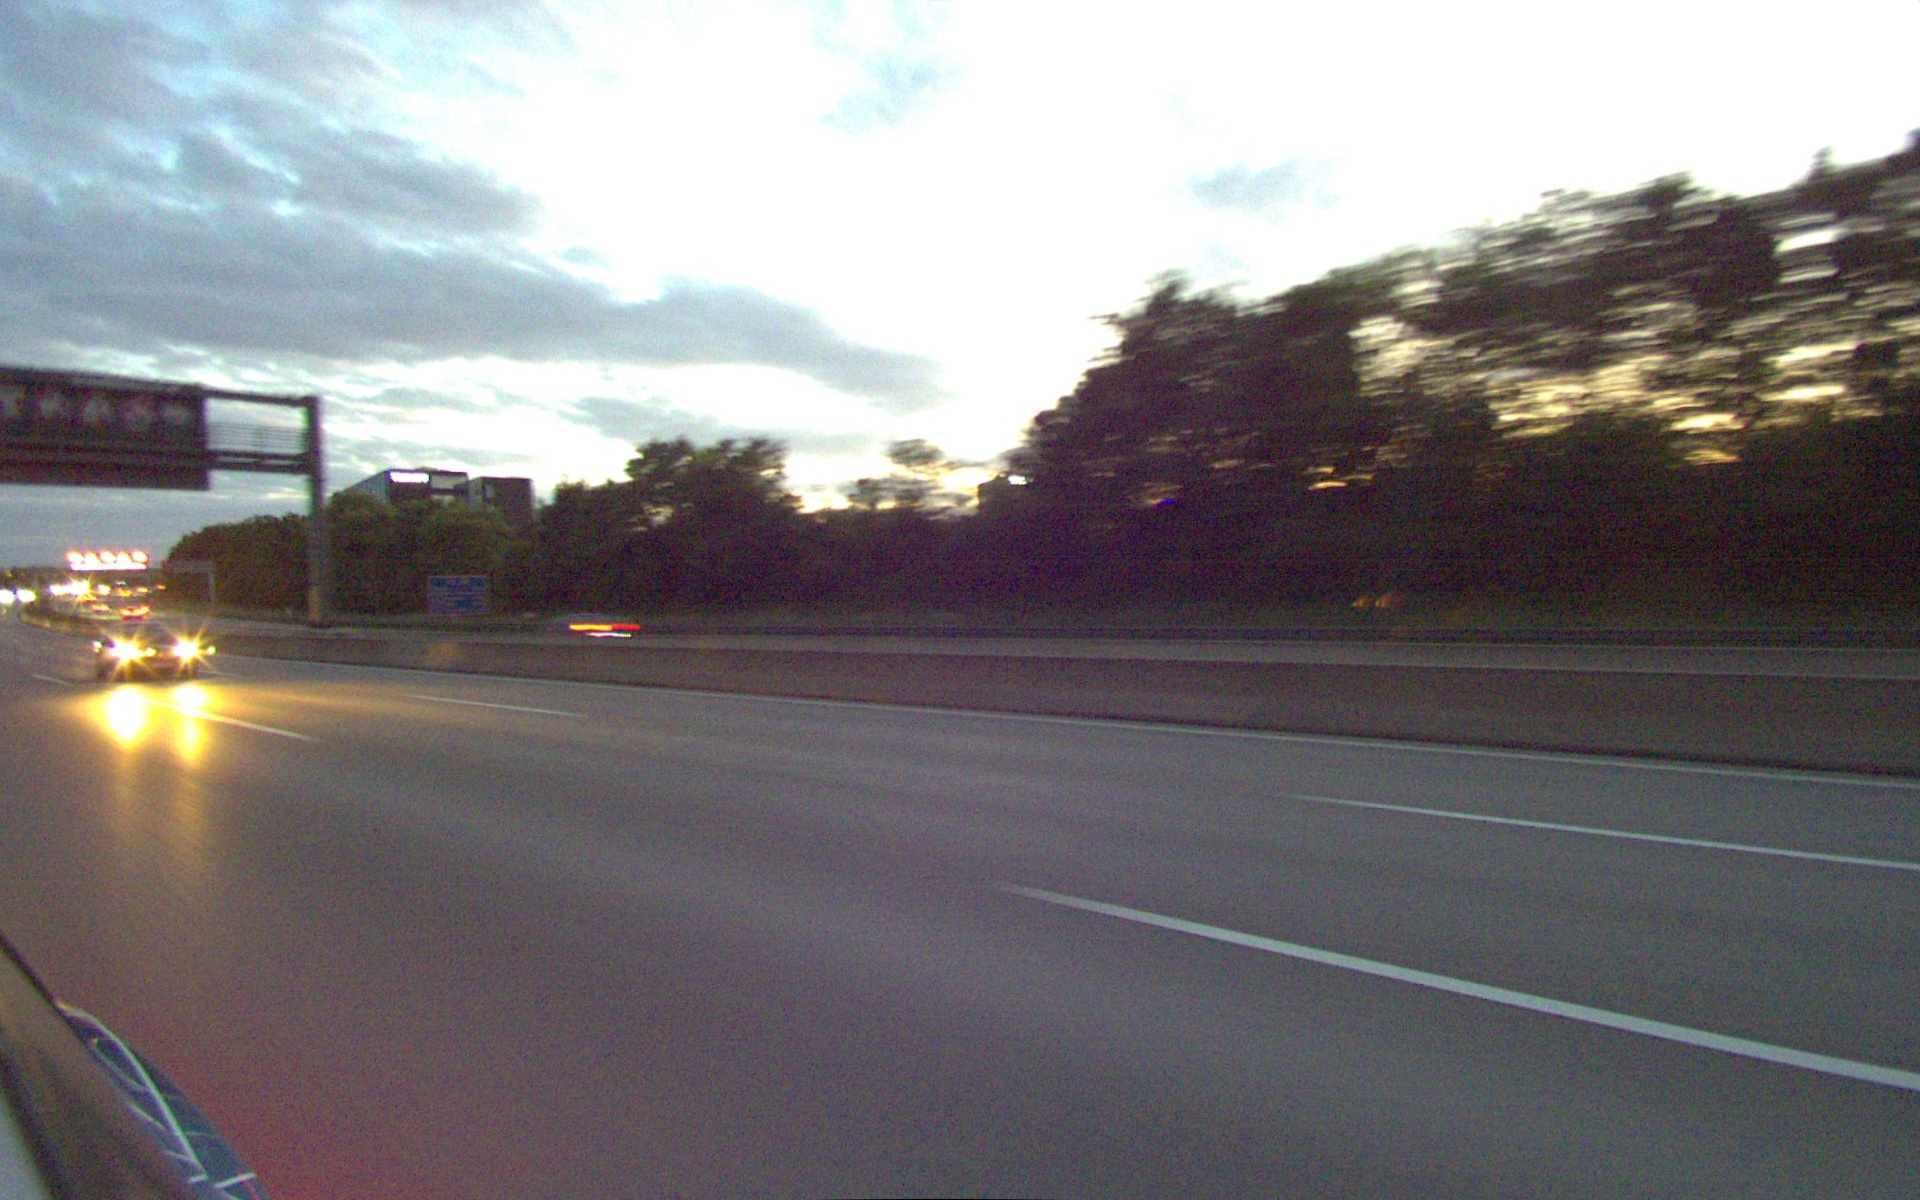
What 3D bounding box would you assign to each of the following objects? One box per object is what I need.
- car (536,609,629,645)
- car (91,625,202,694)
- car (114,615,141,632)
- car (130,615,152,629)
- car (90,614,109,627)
[{"bbox_3d":[-16.002,1.121,42.792,4.150,1.430,1.973,-1,0,42],"label":"car"},{"bbox_3d":[-21.354,1.499,26.511,4.000,1.491,1.694,1,1,43],"label":"car"},{"bbox_3d":[-105.133,2.912,127.752,4.678,1.907,1.972,1,1,42],"label":"car"},{"bbox_3d":[-125.547,3.399,155.120,5.059,1.907,1.972,1,1,44],"label":"car"},{"bbox_3d":[-137.480,3.236,161.658,5.059,1.907,1.854,1,1,44],"label":"car"}]
